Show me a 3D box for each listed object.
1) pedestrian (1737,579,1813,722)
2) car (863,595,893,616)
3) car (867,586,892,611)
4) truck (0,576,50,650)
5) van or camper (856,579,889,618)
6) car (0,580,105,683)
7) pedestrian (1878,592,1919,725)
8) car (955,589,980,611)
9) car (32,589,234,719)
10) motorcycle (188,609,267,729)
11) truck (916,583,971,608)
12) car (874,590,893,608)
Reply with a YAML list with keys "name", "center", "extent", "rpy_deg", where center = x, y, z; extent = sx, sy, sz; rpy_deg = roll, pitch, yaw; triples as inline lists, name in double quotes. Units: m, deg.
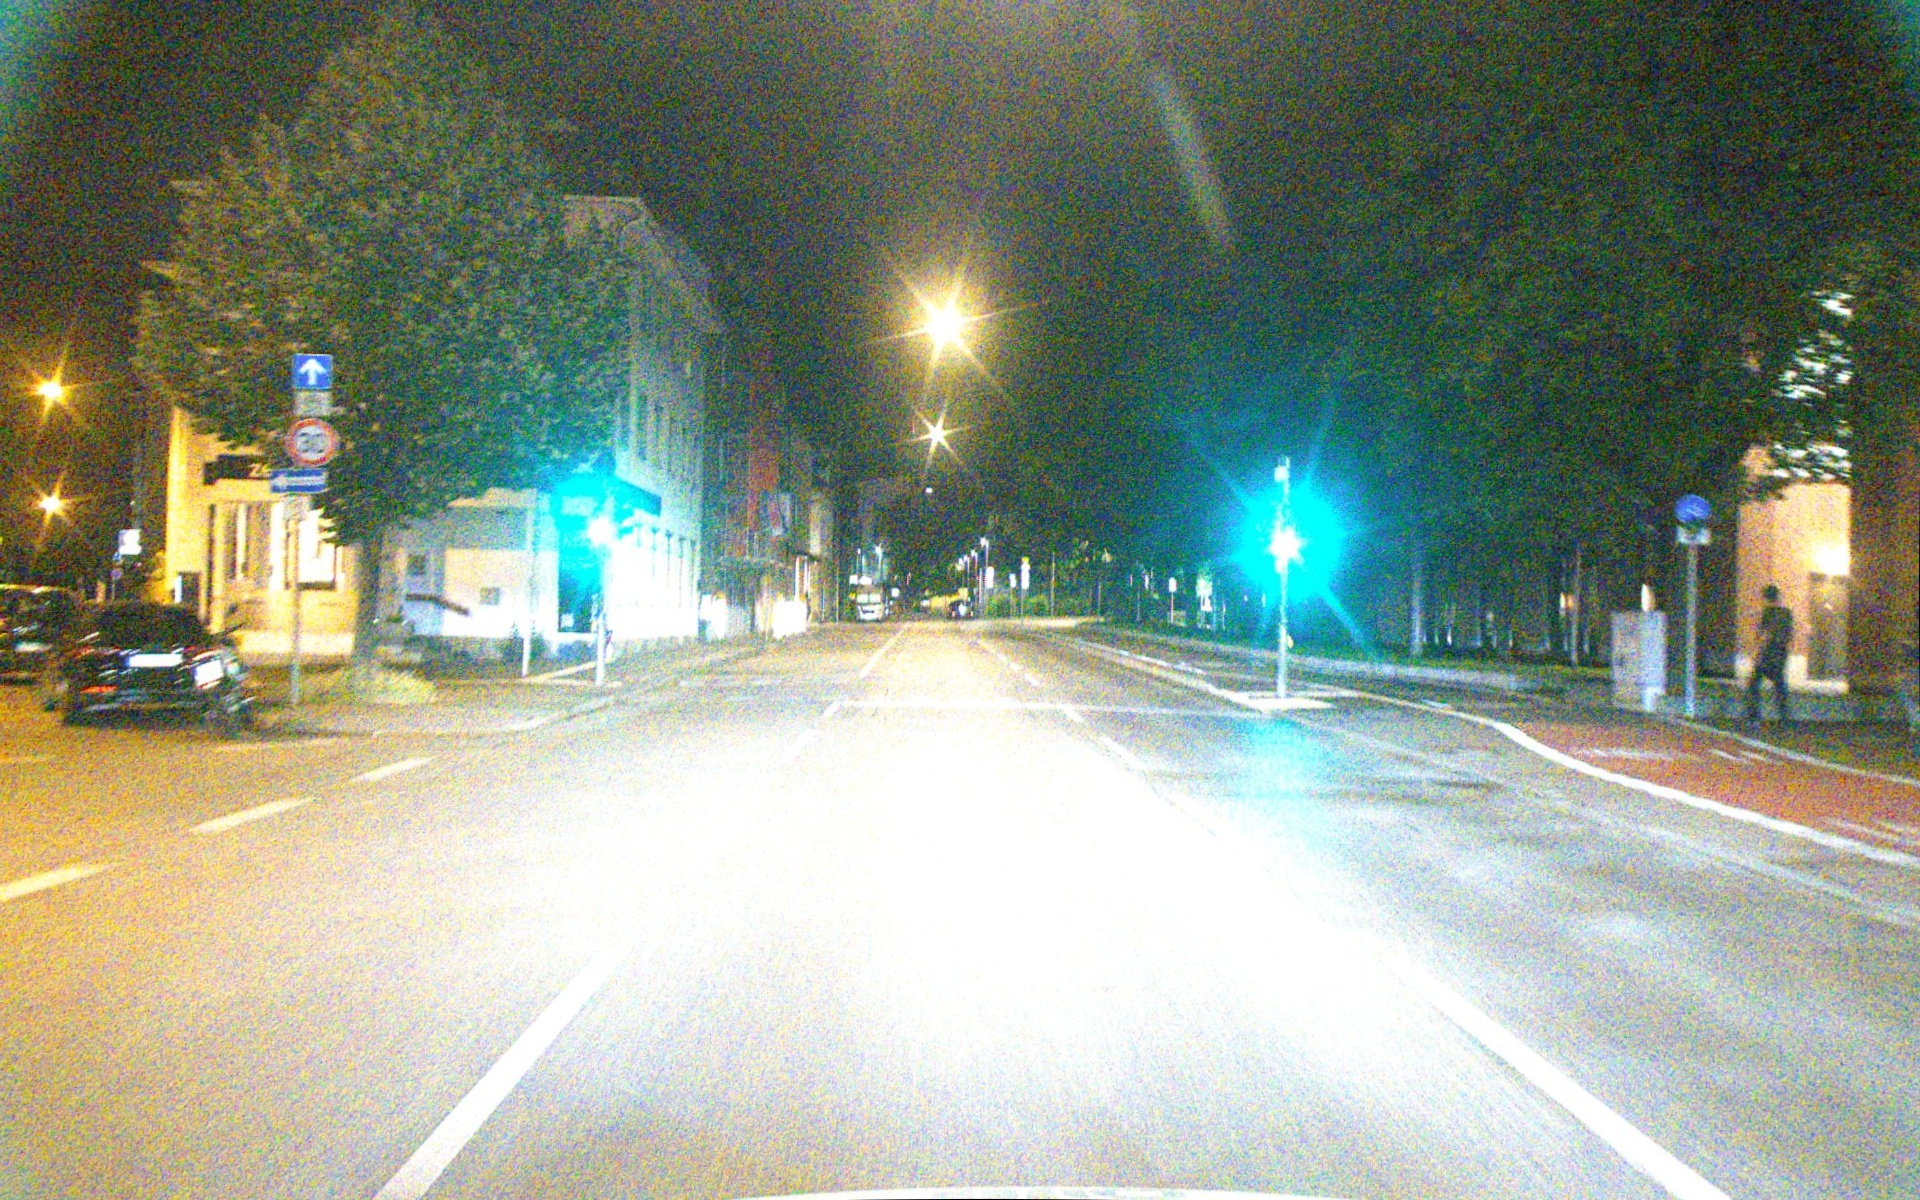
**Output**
- name: "pedestrian"
  center: [10.689, 0.653, 21.717]
  extent: [0.609, 1.843, 0.759]
  rpy_deg: [0, 0, -1]
- name: "car"
  center: [-6.310, 0.379, 126.920]
  extent: [1.804, 1.533, 4.733]
  rpy_deg: [-1, 0, -8]
- name: "car"
  center: [-6.655, -0.107, 137.262]
  extent: [1.953, 1.989, 4.804]
  rpy_deg: [0, 0, -1]
- name: "truck"
  center: [-24.913, 0.344, 43.303]
  extent: [1.869, 1.839, 4.074]
  rpy_deg: [0, -1, -29]
- name: "van or camper"
  center: [-6.104, -0.097, 116.045]
  extent: [2.115, 2.580, 6.224]
  rpy_deg: [-2, 0, -2]
- name: "car"
  center: [-16.436, 0.528, 29.548]
  extent: [1.893, 1.673, 4.071]
  rpy_deg: [3, -1, -29]
- name: "pedestrian"
  center: [12.245, 0.737, 21.167]
  extent: [0.608, 1.667, 0.679]
  rpy_deg: [0, 0, -1]
- name: "car"
  center: [0.558, 0.032, 126.615]
  extent: [1.845, 1.631, 4.107]
  rpy_deg: [-1, 0, 1]
- name: "car"
  center: [-10.569, 0.604, 20.959]
  extent: [1.869, 1.449, 4.677]
  rpy_deg: [0, 0, -32]
- name: "motorcycle"
  center: [-7.886, 0.709, 17.858]
  extent: [0.563, 1.200, 2.022]
  rpy_deg: [0, 0, -18]
- name: "truck"
  center: [-2.063, -0.531, 204.135]
  extent: [6.643, 2.894, 1.998]
  rpy_deg: [1, 0, -4]
- name: "car"
  center: [-7.165, -0.076, 155.217]
  extent: [1.643, 1.594, 4.103]
  rpy_deg: [0, -1, -1]
